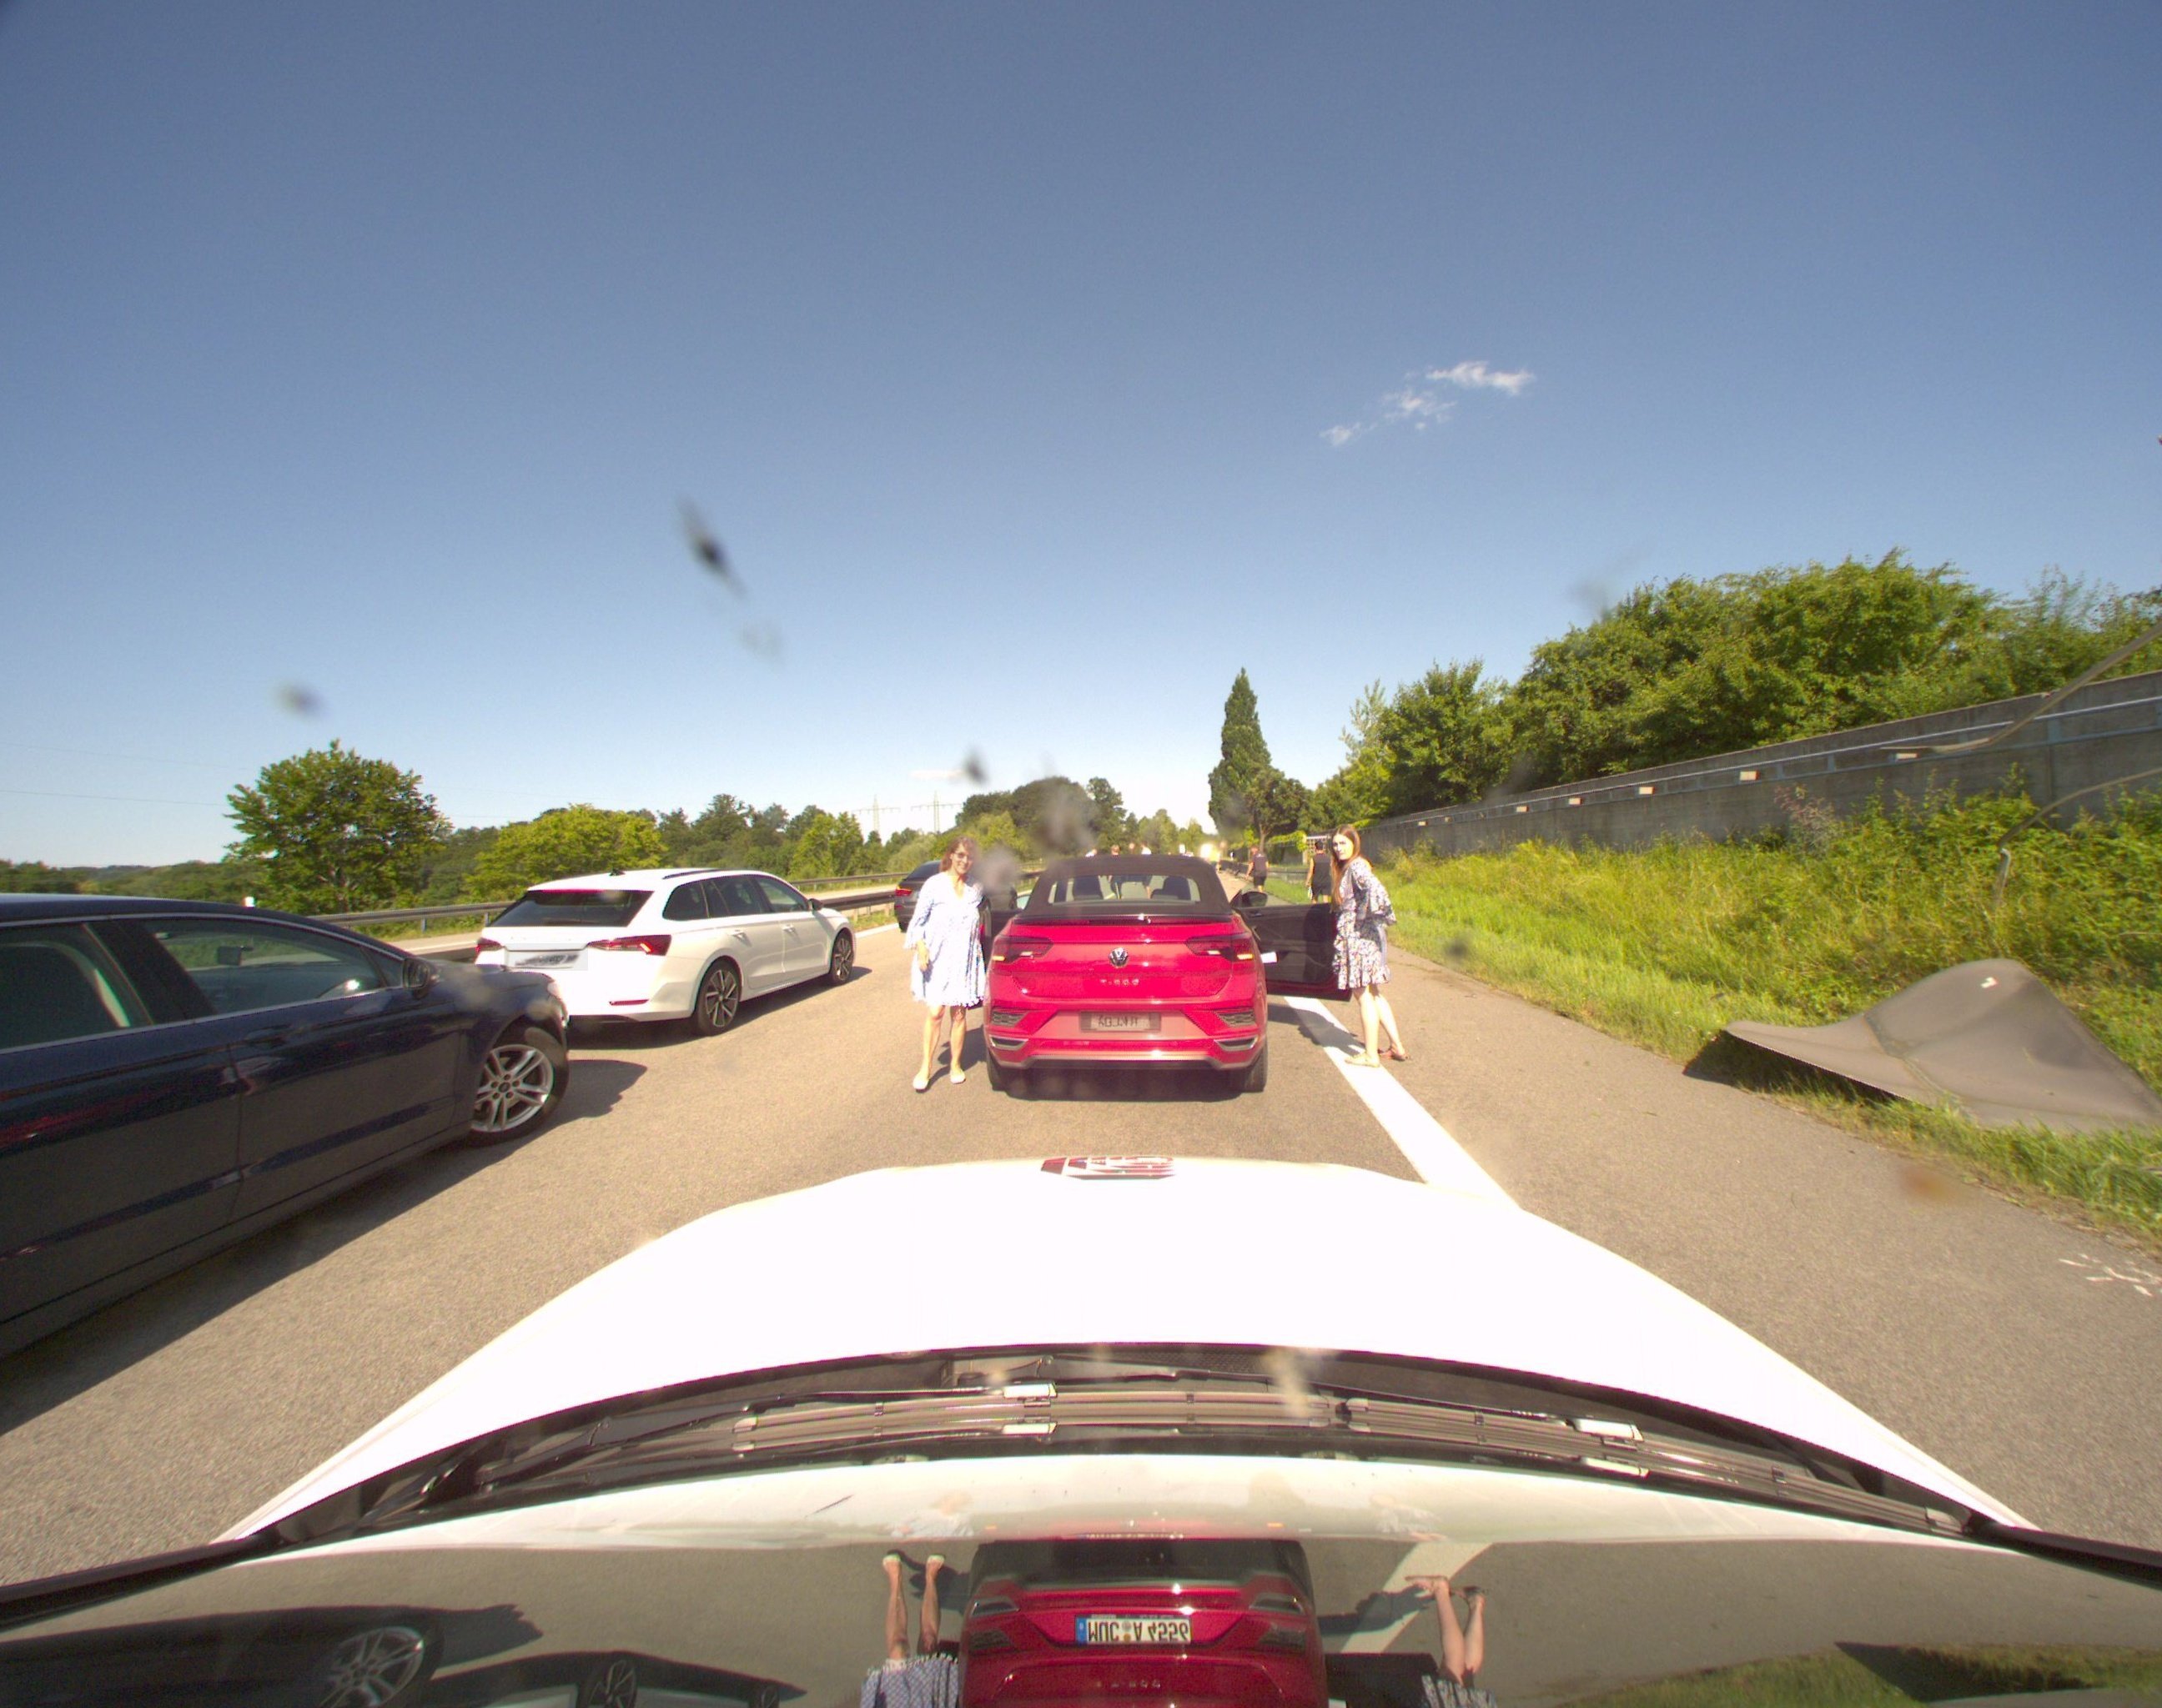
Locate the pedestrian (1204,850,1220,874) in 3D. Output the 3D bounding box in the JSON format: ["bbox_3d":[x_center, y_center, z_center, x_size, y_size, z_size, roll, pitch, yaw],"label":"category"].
[{"bbox_3d":[9.092,0.551,56.561,1.048,1.689,1.021,-1,-1,13],"label":"pedestrian"}]

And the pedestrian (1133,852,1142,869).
[{"bbox_3d":[5.413,0.628,78.369,0.786,1.689,0.795,-1,-1,11],"label":"pedestrian"}]

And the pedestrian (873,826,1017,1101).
[{"bbox_3d":[-0.905,0.683,5.504,0.839,1.683,0.741,-2,0,-9],"label":"pedestrian"}]

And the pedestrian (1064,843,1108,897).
[{"bbox_3d":[0.156,0.529,27.550,1.094,1.789,1.097,0,-1,-28],"label":"pedestrian"}]

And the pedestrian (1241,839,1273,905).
[{"bbox_3d":[4.785,0.479,22.155,0.806,1.759,0.831,-1,-1,14],"label":"pedestrian"}]

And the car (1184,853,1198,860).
[{"bbox_3d":[21.437,0.483,158.973,1.717,1.487,4.233,-1,0,23],"label":"car"}]

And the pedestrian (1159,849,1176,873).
[{"bbox_3d":[6.157,0.493,57.962,1.106,1.689,0.976,-1,-1,11],"label":"pedestrian"}]

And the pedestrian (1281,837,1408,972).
[{"bbox_3d":[3.495,0.631,10.903,0.962,1.653,1.268,-2,0,-25],"label":"pedestrian"}]

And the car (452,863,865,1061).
[{"bbox_3d":[-3.830,0.859,8.374,1.686,1.441,4.217,-1,0,6],"label":"car"}]

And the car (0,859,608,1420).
[{"bbox_3d":[-3.825,0.805,2.815,1.783,1.493,4.490,-2,0,-1],"label":"car"}]

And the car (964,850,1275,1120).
[{"bbox_3d":[0.431,0.730,6.671,1.723,1.487,4.217,-1,0,6],"label":"car"}]

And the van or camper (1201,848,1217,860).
[{"bbox_3d":[24.706,-0.028,157.406,1.976,2.316,4.495,-1,-1,23],"label":"van or camper"}]

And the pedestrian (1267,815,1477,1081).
[{"bbox_3d":[2.010,0.617,5.789,1.121,1.695,0.893,-2,0,1],"label":"pedestrian"}]

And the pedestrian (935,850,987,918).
[{"bbox_3d":[-3.231,0.782,22.016,1.034,1.763,1.121,-2,0,9],"label":"pedestrian"}]

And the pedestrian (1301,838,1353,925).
[{"bbox_3d":[4.990,0.546,16.585,0.889,1.725,0.756,-1,-1,9],"label":"pedestrian"}]

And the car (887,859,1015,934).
[{"bbox_3d":[-2.719,0.844,18.030,1.686,1.426,4.341,-1,0,6],"label":"car"}]

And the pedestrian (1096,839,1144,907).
[{"bbox_3d":[1.145,0.541,23.592,1.056,1.883,1.098,-2,0,18],"label":"pedestrian"}]

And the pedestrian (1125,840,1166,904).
[{"bbox_3d":[2.021,0.545,25.652,1.102,1.912,1.256,-2,0,-2],"label":"pedestrian"}]

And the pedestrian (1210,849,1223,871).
[{"bbox_3d":[10.579,0.486,63.567,0.990,1.689,1.013,-1,-1,9],"label":"pedestrian"}]
